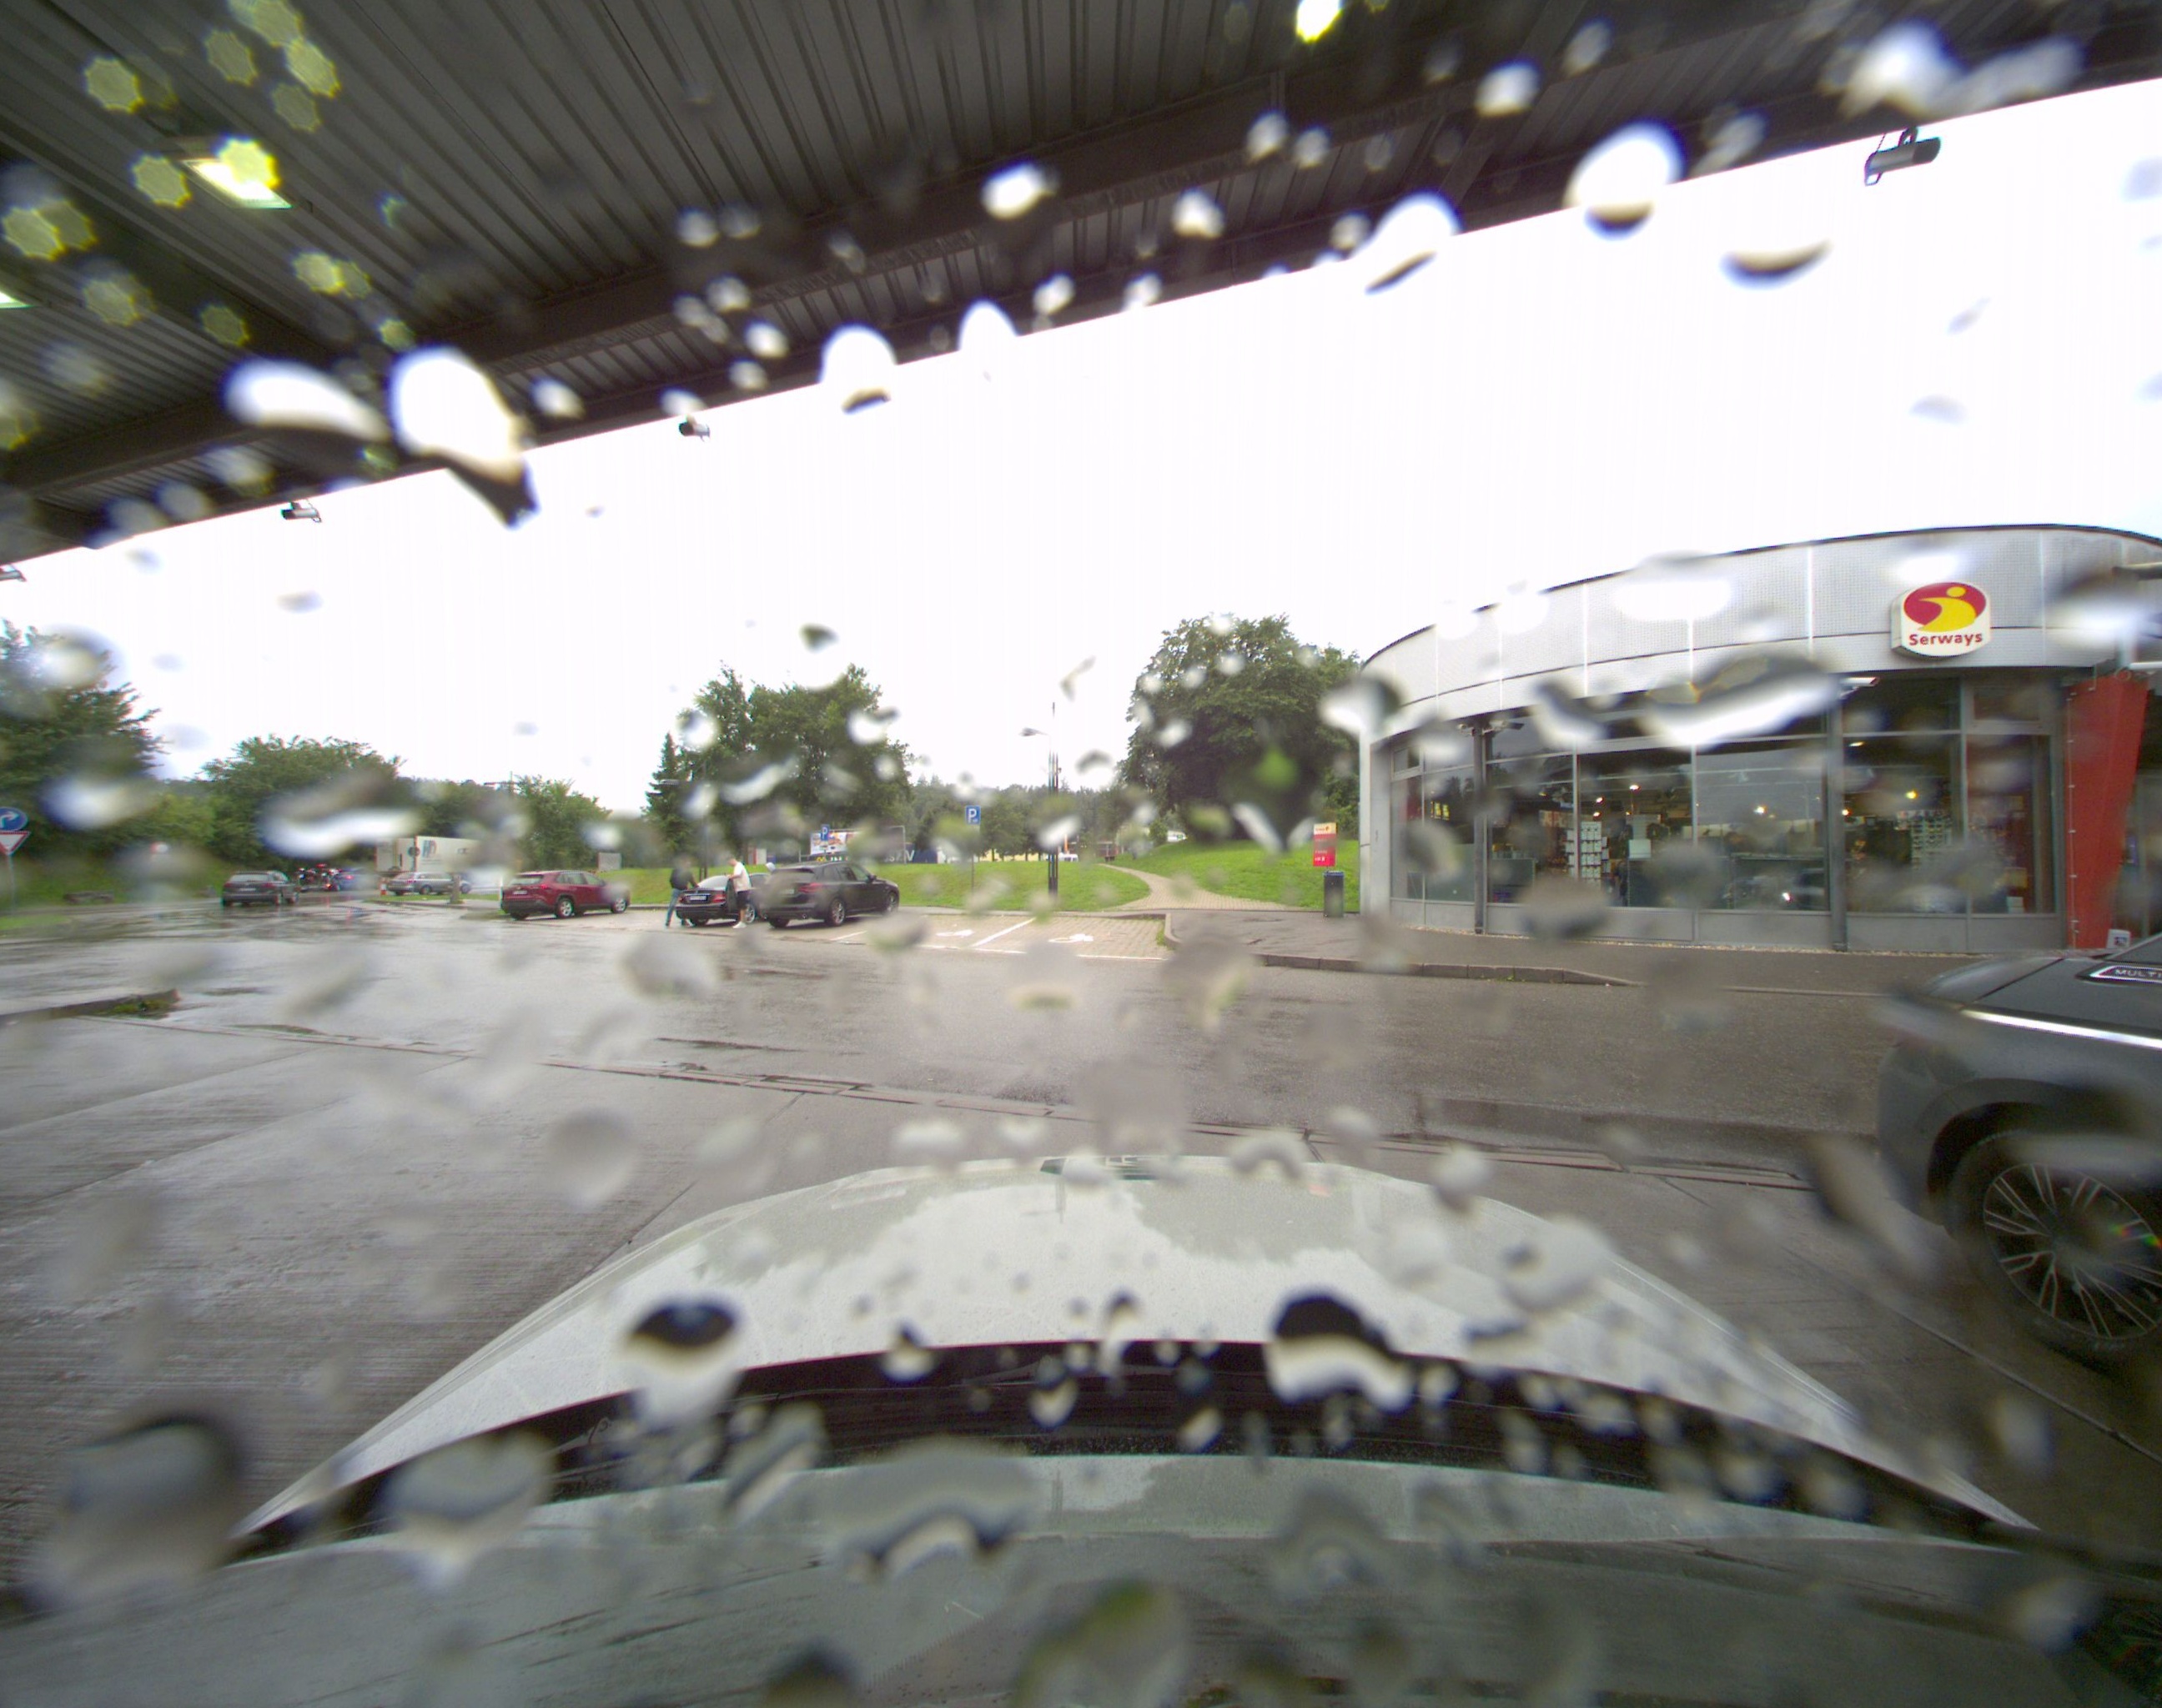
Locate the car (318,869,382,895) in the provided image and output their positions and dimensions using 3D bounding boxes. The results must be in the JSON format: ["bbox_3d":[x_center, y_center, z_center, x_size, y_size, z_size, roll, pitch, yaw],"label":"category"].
[{"bbox_3d":[-50.338,1.880,56.184,1.814,1.681,3.927,0,-1,-18],"label":"car"}]

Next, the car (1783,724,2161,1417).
[{"bbox_3d":[3.680,0.544,0.689,1.854,1.798,5.142,0,-1,2],"label":"car"}]

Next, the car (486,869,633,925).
[{"bbox_3d":[-18.132,1.443,28.603,1.928,1.644,4.352,-2,0,7],"label":"car"}]

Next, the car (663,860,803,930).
[{"bbox_3d":[-9.829,1.083,23.435,2.010,1.711,4.344,-2,0,1],"label":"car"}]

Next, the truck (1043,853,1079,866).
[{"bbox_3d":[-3.243,0.889,134.116,5.356,2.014,2.381,-1,-1,26],"label":"truck"}]

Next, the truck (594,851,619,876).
[{"bbox_3d":[-61.339,1.180,105.296,2.494,3.085,7.281,0,-1,-32],"label":"truck"}]

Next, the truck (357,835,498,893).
[{"bbox_3d":[-55.439,0.841,69.988,3.550,4.340,16.899,0,-1,-18],"label":"truck"}]

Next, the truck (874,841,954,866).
[{"bbox_3d":[-20.747,-0.048,102.358,2.165,2.920,13.175,-1,-1,26],"label":"truck"}]

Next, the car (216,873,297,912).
[{"bbox_3d":[-38.659,1.768,38.298,2.009,1.678,3.956,0,-1,-36],"label":"car"}]

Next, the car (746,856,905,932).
[{"bbox_3d":[-6.644,0.973,21.791,2.002,1.711,4.360,-2,0,14],"label":"car"}]

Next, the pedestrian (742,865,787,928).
[{"bbox_3d":[-8.398,1.113,21.640,0.697,1.631,0.957,-1,-1,14],"label":"pedestrian"}]

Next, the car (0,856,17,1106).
[{"bbox_3d":[-7.962,0.803,2.687,1.854,1.608,5.273,0,-1,2],"label":"car"}]

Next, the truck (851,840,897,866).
[{"bbox_3d":[-24.180,-0.080,95.466,2.165,2.920,5.419,-1,-1,27],"label":"truck"}]

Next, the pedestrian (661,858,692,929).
[{"bbox_3d":[-11.096,1.063,22.364,0.705,1.887,0.887,0,-1,-23],"label":"pedestrian"}]

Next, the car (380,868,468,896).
[{"bbox_3d":[-40.747,1.722,50.605,1.759,1.628,4.013,-1,-1,12],"label":"car"}]

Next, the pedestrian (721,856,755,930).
[{"bbox_3d":[-8.943,1.000,21.251,0.703,1.887,0.948,0,-1,-17],"label":"pedestrian"}]
